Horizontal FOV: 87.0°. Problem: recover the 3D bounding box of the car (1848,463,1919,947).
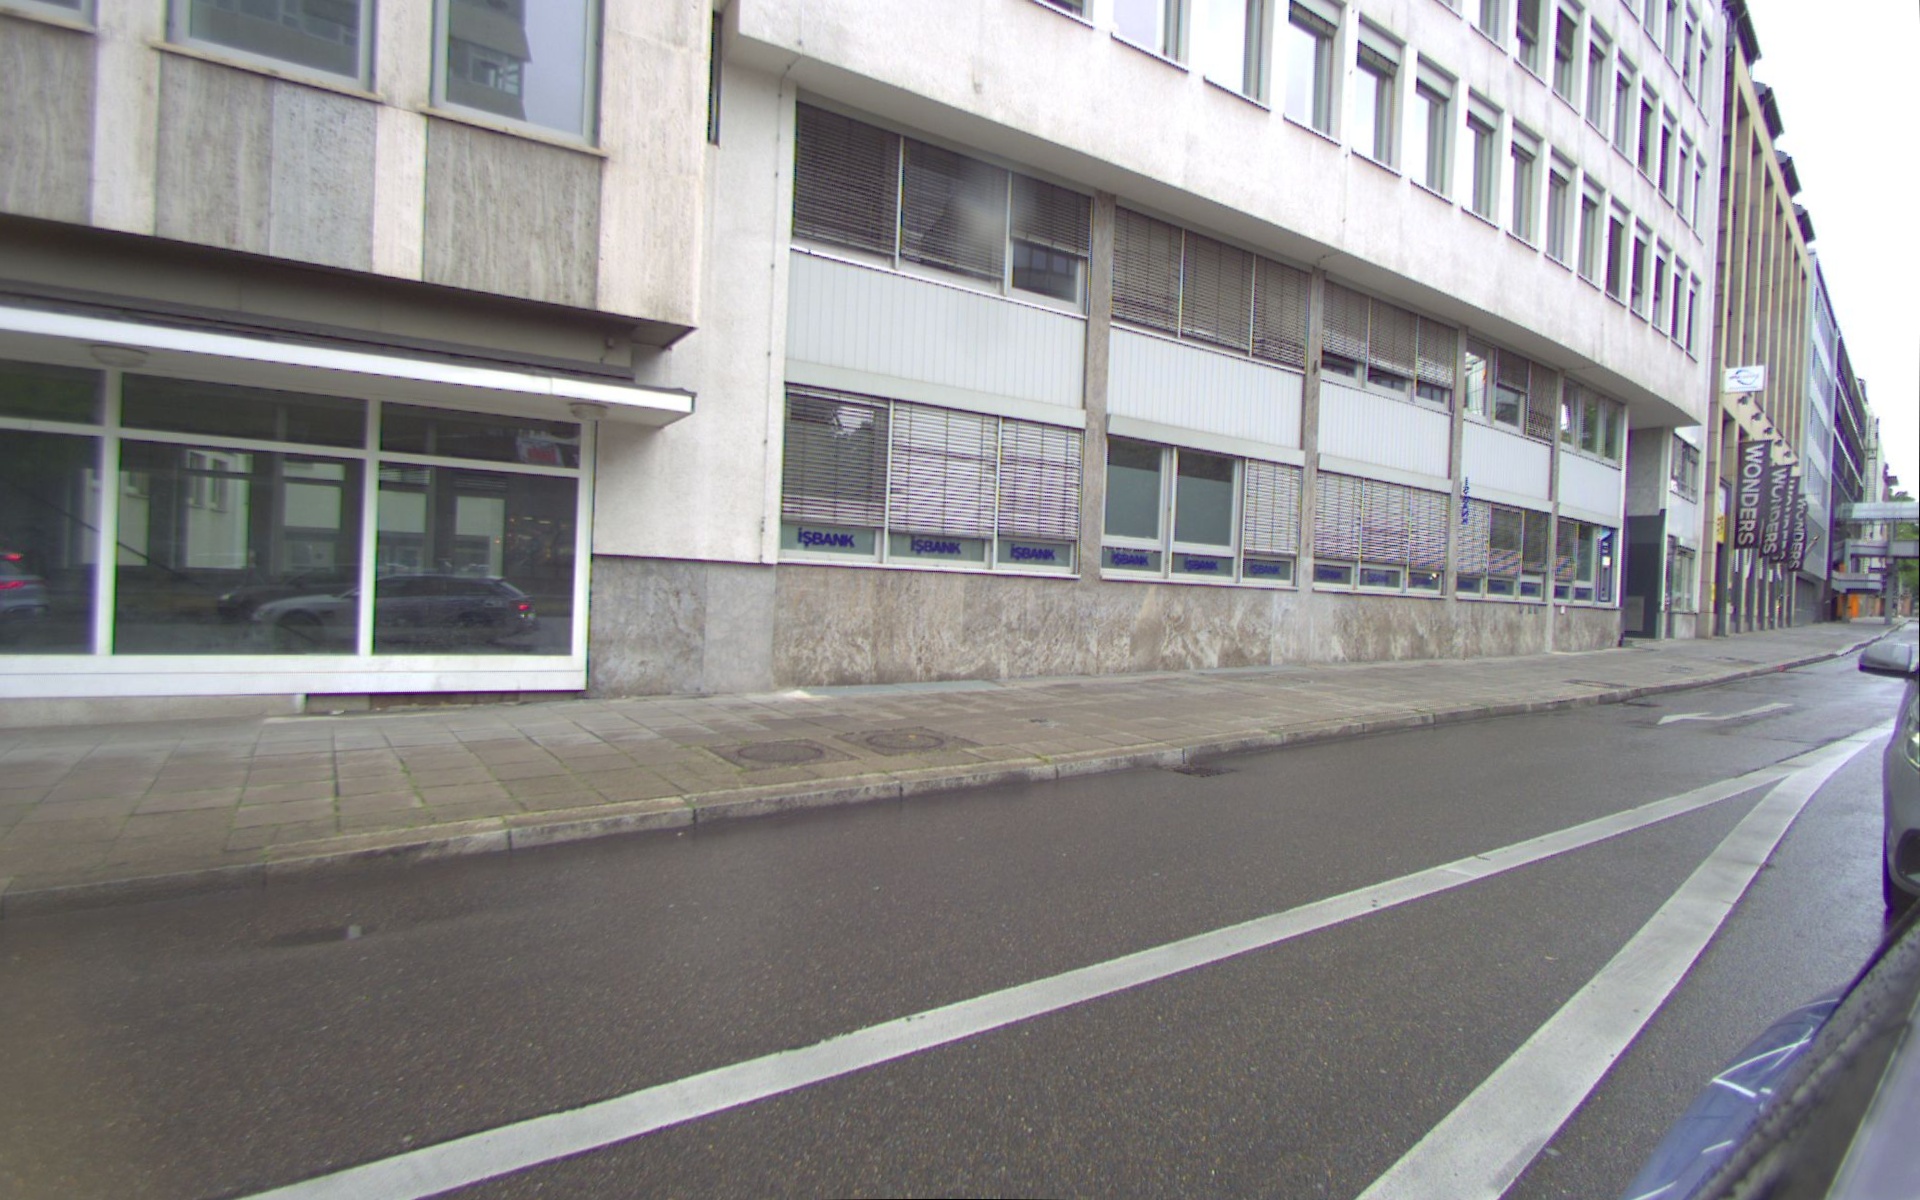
[{"bbox_3d":[6.457,0.468,5.338,4.955,2.051,2.160,0,0,-43],"label":"car"}]
